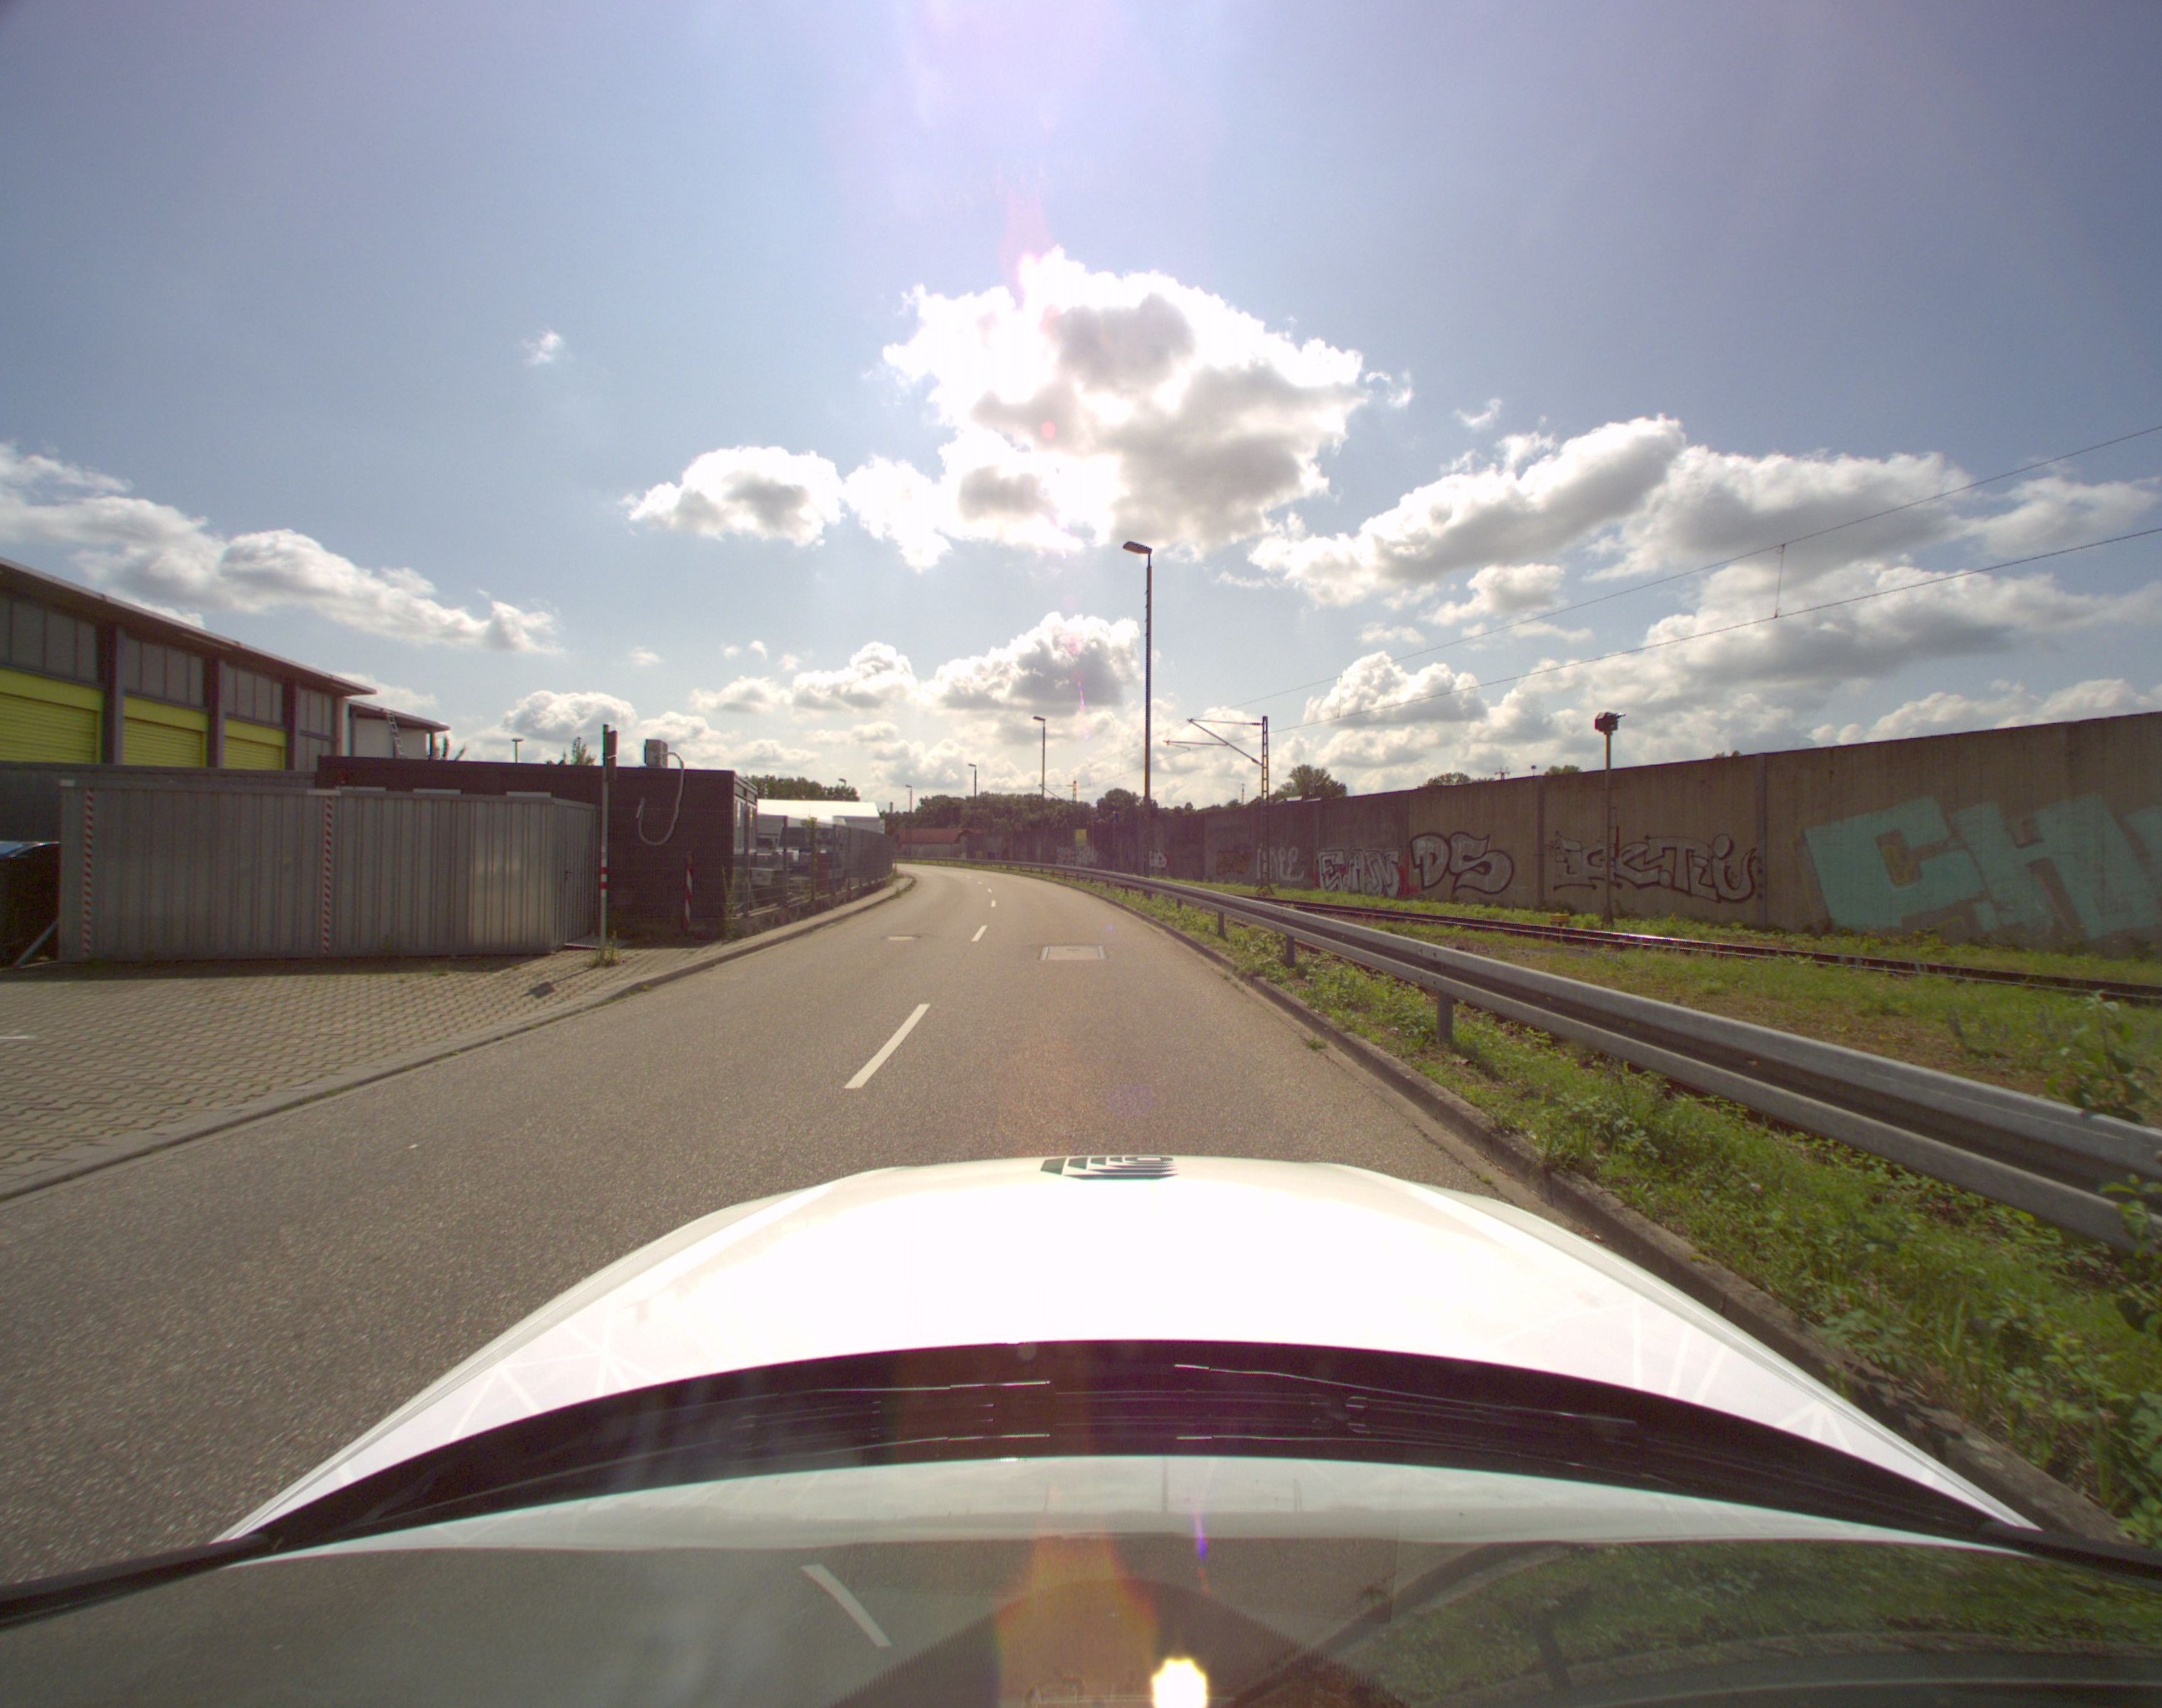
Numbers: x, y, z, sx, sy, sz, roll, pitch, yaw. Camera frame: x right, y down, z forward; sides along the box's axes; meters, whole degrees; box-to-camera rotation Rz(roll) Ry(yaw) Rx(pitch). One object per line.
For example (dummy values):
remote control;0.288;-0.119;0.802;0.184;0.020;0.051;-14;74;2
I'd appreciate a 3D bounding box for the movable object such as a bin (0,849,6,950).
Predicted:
movable object such as a bin;-15.057;0.616;9.991;1.198;1.390;2.189;1;0;-19

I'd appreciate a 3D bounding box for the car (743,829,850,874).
car;-13.413;-0.116;38.415;4.578;2.026;2.042;0;0;-26

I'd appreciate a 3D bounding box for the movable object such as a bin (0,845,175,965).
movable object such as a bin;-13.259;0.594;10.381;1.376;1.390;2.189;0;0;-19

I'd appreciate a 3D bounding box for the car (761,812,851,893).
car;-9.558;-0.088;28.836;2.120;2.537;6.692;0;1;-11
